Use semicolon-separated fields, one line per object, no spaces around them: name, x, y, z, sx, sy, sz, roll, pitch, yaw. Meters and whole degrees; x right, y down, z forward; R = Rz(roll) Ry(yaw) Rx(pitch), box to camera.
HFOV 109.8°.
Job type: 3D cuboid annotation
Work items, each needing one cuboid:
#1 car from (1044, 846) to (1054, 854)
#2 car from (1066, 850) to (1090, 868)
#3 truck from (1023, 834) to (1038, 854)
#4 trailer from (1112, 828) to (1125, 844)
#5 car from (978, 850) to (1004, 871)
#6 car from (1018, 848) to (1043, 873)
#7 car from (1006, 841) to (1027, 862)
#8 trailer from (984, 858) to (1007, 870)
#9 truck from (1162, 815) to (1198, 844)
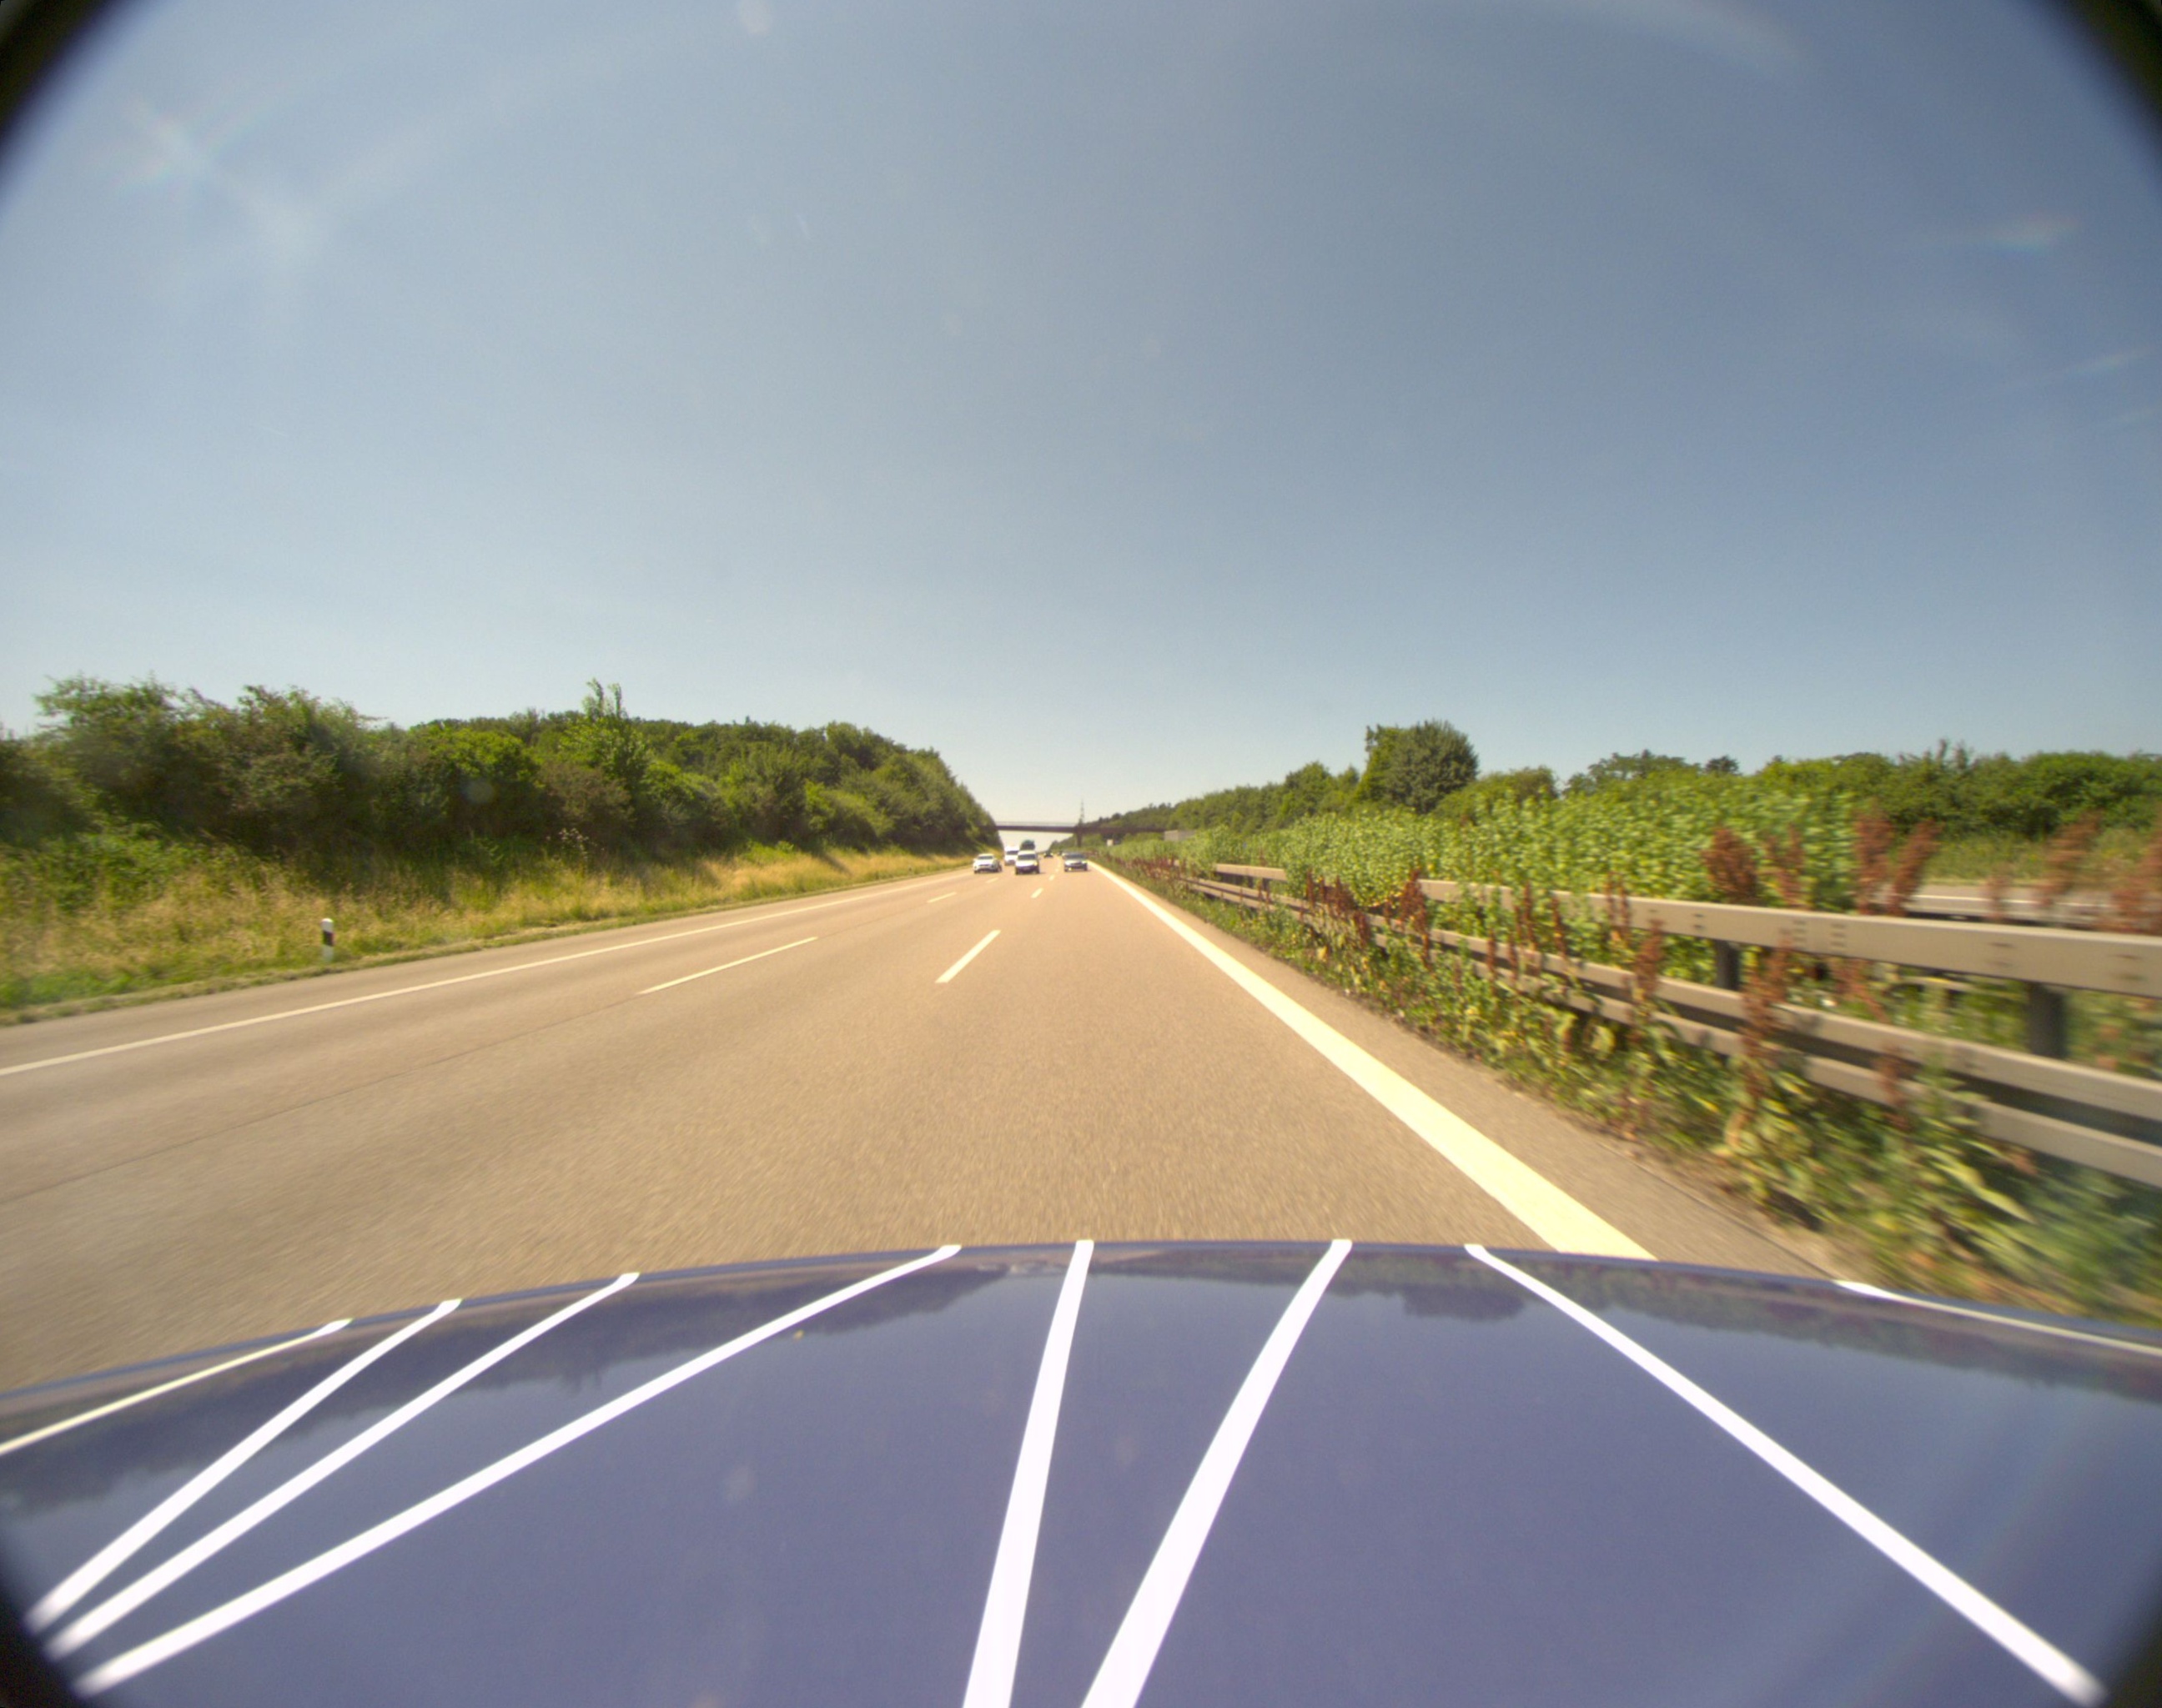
car;-6.628;-0.861;156.180;1.789;1.550;3.941;-2;0;-7
car;-0.249;0.415;61.315;1.768;1.400;3.999;-2;0;-2
truck;-9.913;-1.912;149.103;2.517;3.819;4.890;-2;0;-7
trailer;11.587;-5.402;233.041;2.641;4.228;14.673;-2;0;-2
car;-7.919;0.570;66.845;1.786;1.641;4.403;-2;0;-1
car;-3.901;0.473;58.952;1.751;1.819;4.799;-2;0;-4
car;-8.375;-0.253;98.072;2.096;2.561;6.617;-2;0;-9
trailer;-7.994;0.928;71.221;1.759;0.903;4.318;-2;0;-1
truck;15.468;-3.747;120.246;2.983;3.990;16.822;-2;1;-2
